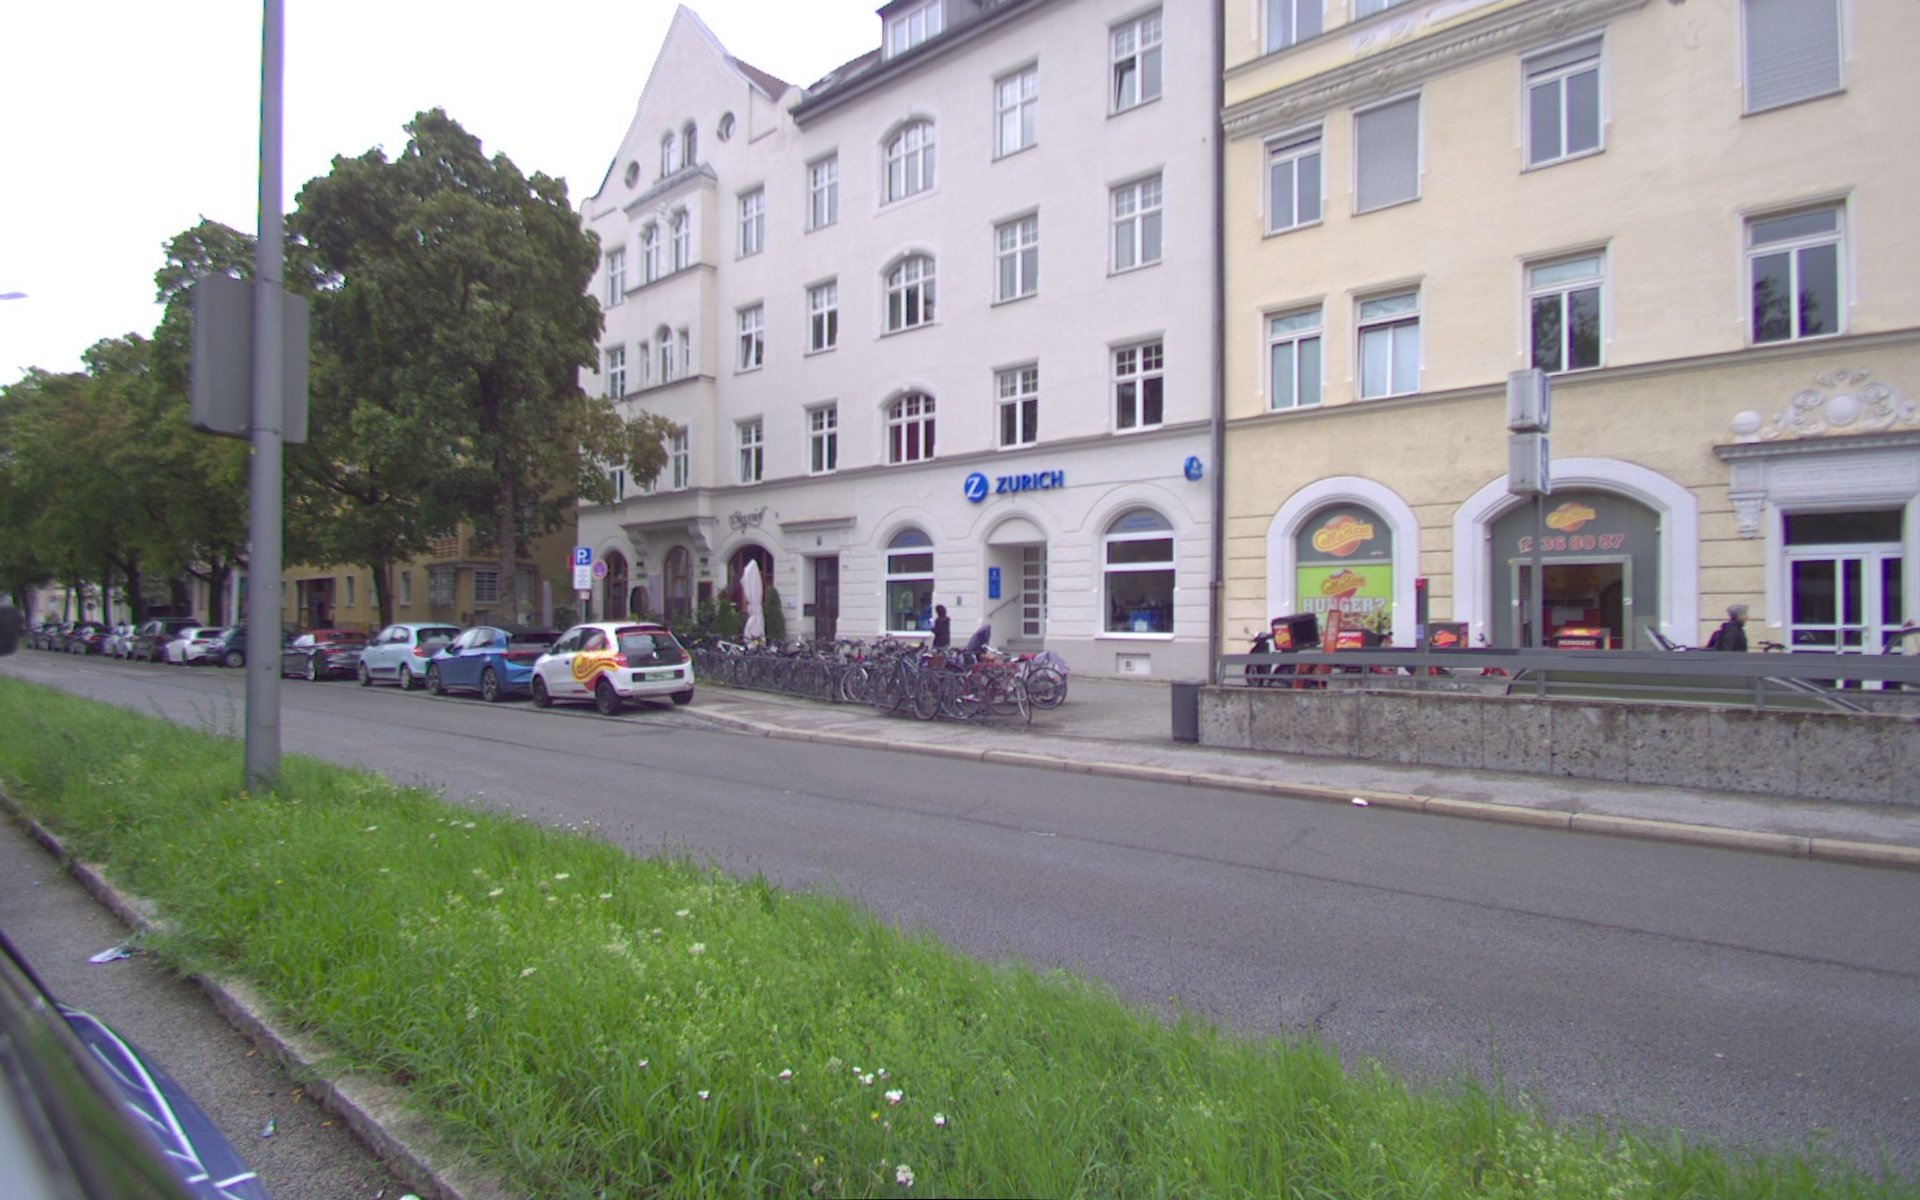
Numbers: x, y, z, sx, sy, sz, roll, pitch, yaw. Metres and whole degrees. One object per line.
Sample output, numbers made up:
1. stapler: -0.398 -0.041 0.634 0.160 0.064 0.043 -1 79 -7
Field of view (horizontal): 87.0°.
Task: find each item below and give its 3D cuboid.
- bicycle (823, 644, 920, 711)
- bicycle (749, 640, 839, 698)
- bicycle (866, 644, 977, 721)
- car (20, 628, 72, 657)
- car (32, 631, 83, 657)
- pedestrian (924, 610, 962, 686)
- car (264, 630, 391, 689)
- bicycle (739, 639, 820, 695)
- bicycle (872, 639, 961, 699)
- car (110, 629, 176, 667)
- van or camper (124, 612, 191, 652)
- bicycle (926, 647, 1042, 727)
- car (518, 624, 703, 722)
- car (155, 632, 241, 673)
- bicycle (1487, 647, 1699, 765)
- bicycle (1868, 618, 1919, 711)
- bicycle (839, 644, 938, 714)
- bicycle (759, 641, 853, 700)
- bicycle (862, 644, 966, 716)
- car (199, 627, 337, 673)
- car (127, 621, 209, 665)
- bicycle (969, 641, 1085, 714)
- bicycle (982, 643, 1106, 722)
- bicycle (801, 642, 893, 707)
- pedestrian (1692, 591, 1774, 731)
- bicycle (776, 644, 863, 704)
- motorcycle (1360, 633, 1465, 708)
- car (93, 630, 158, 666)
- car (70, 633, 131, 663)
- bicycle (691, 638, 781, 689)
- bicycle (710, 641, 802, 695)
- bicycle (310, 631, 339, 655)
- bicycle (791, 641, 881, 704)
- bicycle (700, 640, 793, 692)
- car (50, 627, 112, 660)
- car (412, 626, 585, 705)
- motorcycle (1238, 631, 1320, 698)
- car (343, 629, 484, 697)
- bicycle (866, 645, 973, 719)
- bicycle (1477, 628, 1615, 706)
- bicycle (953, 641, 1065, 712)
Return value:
1. bicycle: -1.531 1.319 17.488 1.667 1.124 0.380 -1 -2 18
2. bicycle: -3.345 1.370 20.344 1.859 1.124 0.328 -1 -2 18
3. bicycle: -0.596 1.249 15.515 1.667 1.124 0.366 -1 -2 18
4. car: -55.790 2.564 61.766 4.436 1.700 1.854 -1 -2 41
5. car: -51.974 2.501 58.250 4.490 1.465 1.674 -1 -2 41
6. pedestrian: -0.387 1.052 22.344 0.416 1.644 0.784 1 -2 -43
7. car: -17.927 1.617 28.593 4.643 1.518 1.792 -1 -2 41
8. bicycle: -3.748 1.374 20.956 1.664 1.124 0.329 -1 -2 14
9. bicycle: -0.825 1.295 19.177 1.667 1.124 0.328 -1 -2 18
10. car: -36.261 2.097 44.893 3.007 1.569 1.710 -1 -2 39
11. van or camper: -54.135 2.140 68.177 6.847 2.599 2.321 -1 -2 41
12. bicycle: 0.344 1.248 14.697 1.667 1.124 0.328 -1 -2 18
13. car: -6.468 1.247 18.566 3.790 1.597 1.631 -1 -2 43
14. car: -28.789 1.939 38.190 4.401 1.413 1.708 -1 -2 41
15. bicycle: 6.500 1.057 10.476 1.808 1.124 0.392 -1 -2 33
16. bicycle: 10.640 0.680 10.673 1.544 0.988 0.468 -1 -2 41
17. bicycle: -1.211 1.313 16.998 1.667 1.124 0.328 -1 -2 18
18. bicycle: -3.024 1.368 19.826 1.859 1.124 0.328 -1 -2 18
19. bicycle: -0.754 1.287 16.399 1.667 1.124 0.365 -1 -2 18
20. car: -25.162 1.781 36.892 1.730 1.475 3.851 -1 -1 39
21. car: -32.906 1.743 42.000 4.765 1.741 1.791 -1 -2 41
22. bicycle: 1.061 1.215 16.159 1.799 1.124 0.394 -1 -2 18
23. bicycle: 1.248 1.218 15.148 1.799 1.124 0.394 -1 -2 18
24. bicycle: -2.030 1.323 18.138 1.667 1.124 0.328 -1 -2 18
25. pedestrian: 9.843 0.758 12.892 0.770 1.710 0.537 -2 -2 41
26. bicycle: -2.677 1.396 19.276 1.667 1.124 0.328 -1 -2 18
27. motorcycle: 7.496 1.138 16.879 0.600 1.130 1.991 0 -1 -9
28. car: -39.361 2.224 47.697 4.055 1.573 1.709 -1 -2 41
29. car: -43.161 2.391 50.808 4.361 1.416 1.709 -1 -2 41
30. bicycle: -5.032 1.425 22.767 1.944 1.124 0.457 -1 -2 10
31. bicycle: -4.328 1.438 21.518 1.860 1.124 0.548 -1 -2 10
32. bicycle: -33.228 2.215 52.884 1.929 1.231 0.762 -1 -2 41
33. bicycle: -2.297 1.329 18.716 1.667 1.124 0.328 -1 -2 18
34. bicycle: -4.679 1.437 22.226 1.966 1.124 0.503 -1 -2 10
35. car: -47.401 2.303 54.547 4.767 1.658 1.859 -1 -2 41
36. car: -9.957 1.324 21.702 4.289 1.518 1.792 -1 -2 41
37. motorcycle: 5.861 1.162 18.731 0.600 1.139 1.991 0 -1 -9
38. car: -13.490 1.488 24.920 3.958 1.518 1.792 -1 -2 41
39. bicycle: -0.647 1.278 15.943 1.667 1.124 0.328 -1 -2 18
40. bicycle: 7.867 0.879 13.623 1.544 0.988 0.468 -1 -2 41
41. bicycle: 0.803 1.249 16.713 1.799 1.124 0.394 -1 -2 18
